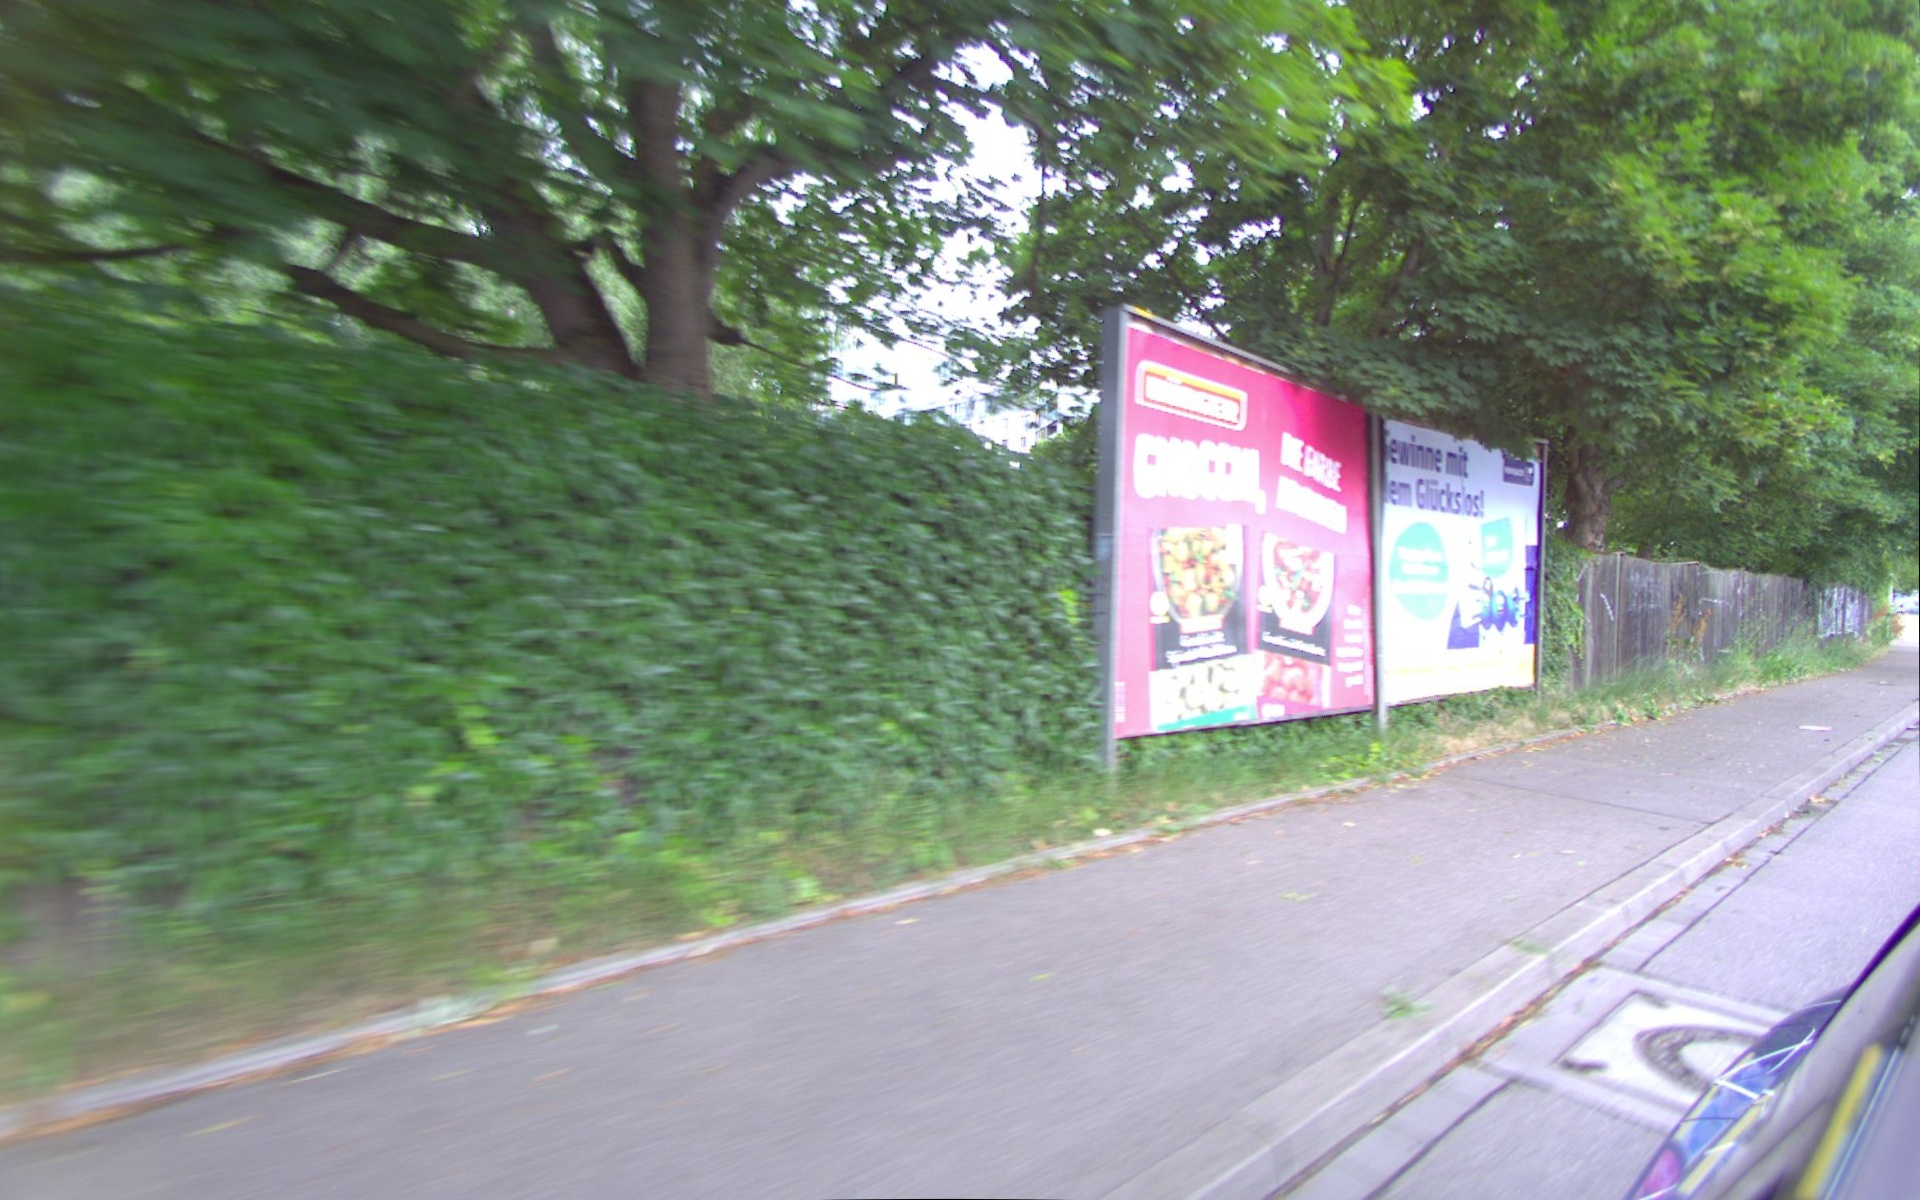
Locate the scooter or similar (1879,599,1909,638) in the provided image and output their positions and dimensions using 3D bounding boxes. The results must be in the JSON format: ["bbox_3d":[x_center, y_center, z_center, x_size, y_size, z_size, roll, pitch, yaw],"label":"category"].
[{"bbox_3d":[33.346,0.660,36.153,0.691,1.328,2.317,3,1,42],"label":"scooter or similar"}]
